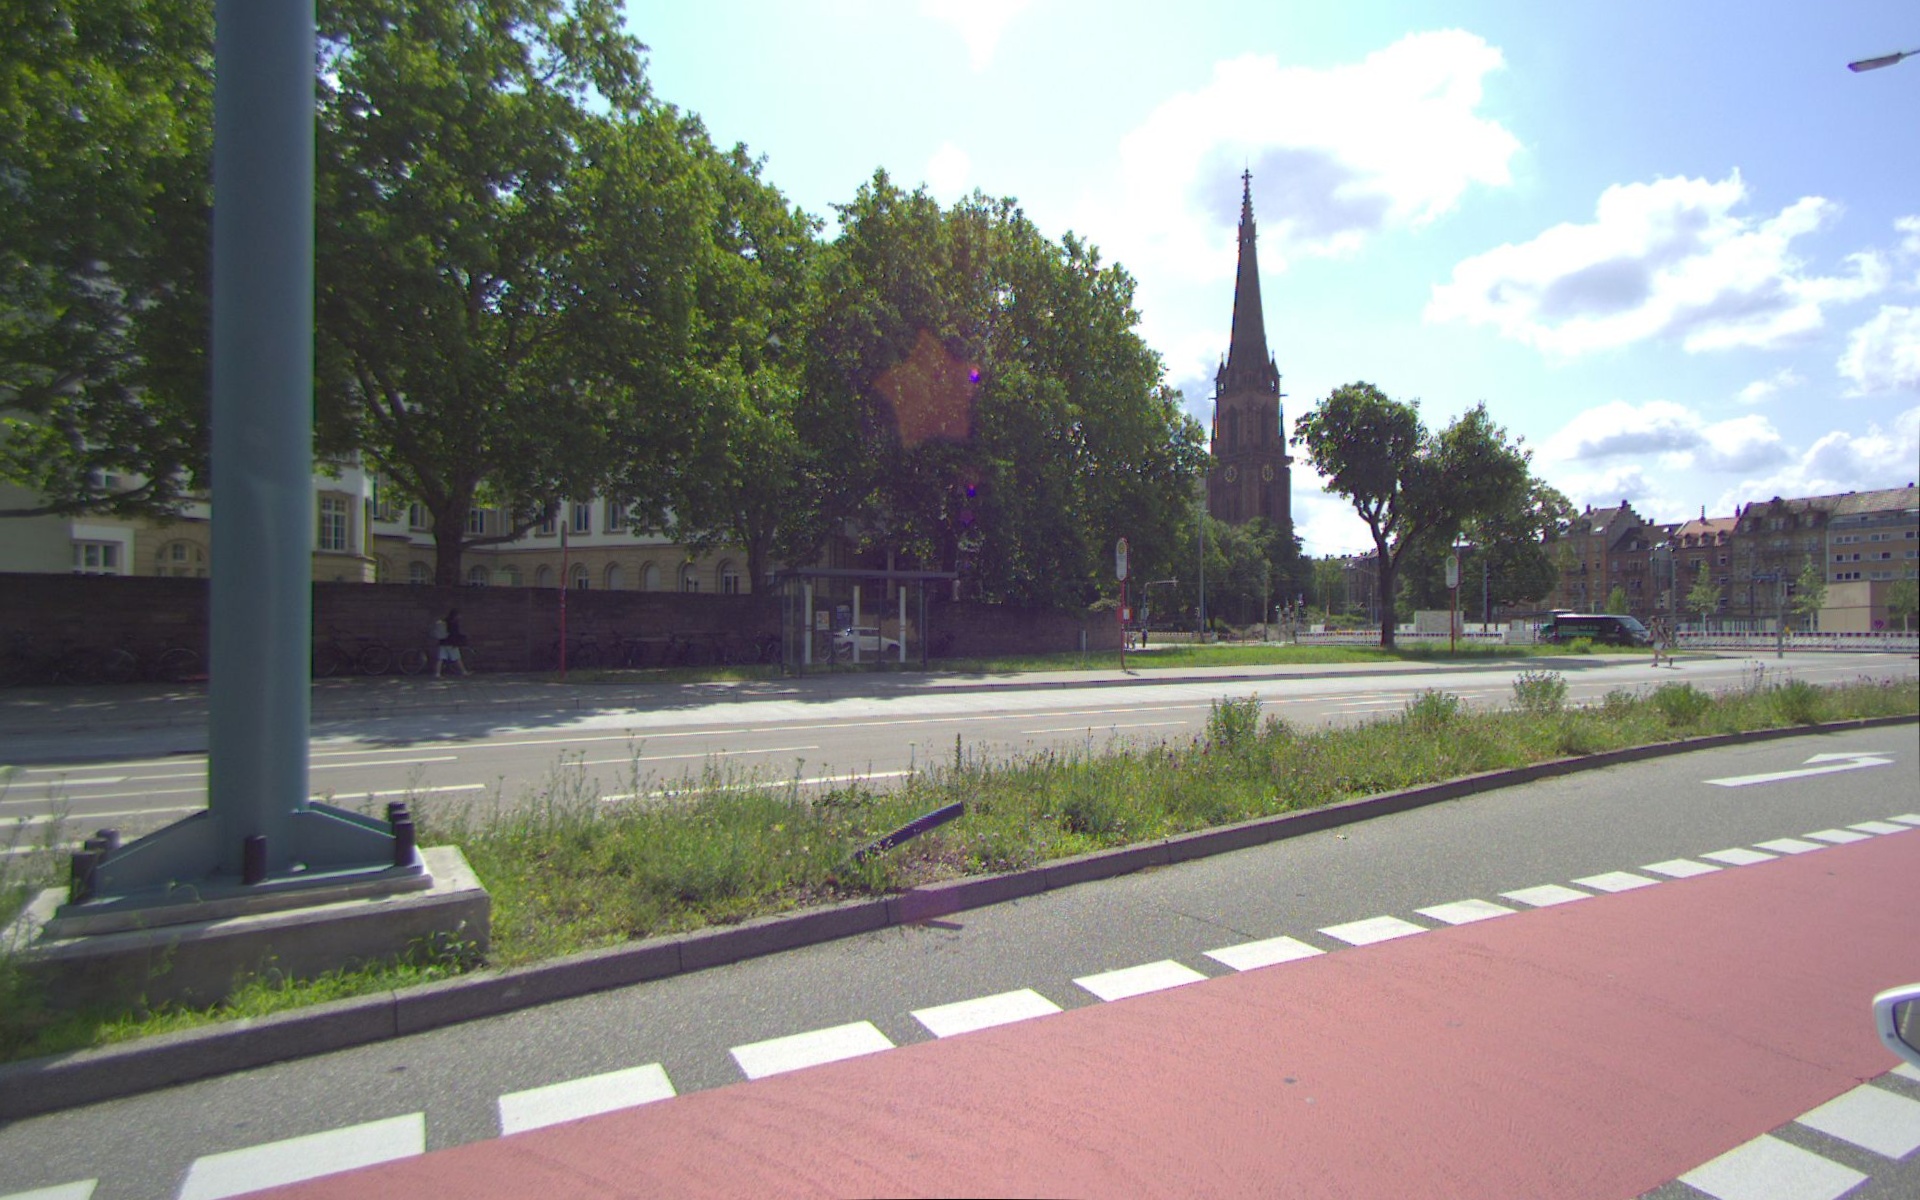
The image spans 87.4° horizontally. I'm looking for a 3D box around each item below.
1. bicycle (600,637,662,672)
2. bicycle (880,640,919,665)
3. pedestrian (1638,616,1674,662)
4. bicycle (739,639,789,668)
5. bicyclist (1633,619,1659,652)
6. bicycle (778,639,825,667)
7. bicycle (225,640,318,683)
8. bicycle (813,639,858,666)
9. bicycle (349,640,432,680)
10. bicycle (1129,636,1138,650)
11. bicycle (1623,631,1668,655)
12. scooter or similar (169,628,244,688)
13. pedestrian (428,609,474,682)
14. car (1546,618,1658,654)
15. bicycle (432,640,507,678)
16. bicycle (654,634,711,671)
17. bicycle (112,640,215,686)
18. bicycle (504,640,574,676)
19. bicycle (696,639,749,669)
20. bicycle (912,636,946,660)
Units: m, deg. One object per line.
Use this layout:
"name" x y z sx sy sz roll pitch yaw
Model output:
"bicycle" -9.506 1.553 29.027 0.538 0.964 1.656 -1 -1 43
"bicycle" -2.324 2.022 38.782 0.537 0.914 1.658 -1 -1 39
"pedestrian" 24.041 1.335 34.709 0.858 1.580 0.556 0 -1 13
"bicycle" -6.442 1.753 33.092 0.537 0.914 1.658 -1 -1 39
"bicyclist" 38.974 2.011 57.080 0.587 1.869 1.112 0 -1 -35
"bicycle" -5.419 1.813 34.438 0.537 0.914 1.658 -1 -1 39
"bicycle" -15.339 1.355 22.400 1.653 0.914 0.539 1 -1 -42
"bicycle" -4.432 1.872 35.924 0.446 0.914 1.786 -1 -1 39
"bicycle" -13.729 1.439 24.230 0.538 0.914 1.655 -1 -1 45
"bicycle" 11.350 2.800 65.714 0.534 0.914 1.666 0 -1 12
"bicycle" 38.947 2.431 57.063 0.598 1.307 2.051 1 -1 -35
"scooter or similar" -15.773 1.195 21.036 0.426 1.199 1.188 -1 -1 39
"pedestrian" -11.680 1.038 23.061 0.607 1.638 0.754 1 0 39
"car" 36.041 1.968 56.540 1.908 1.904 4.981 0 -1 -32
"bicycle" -12.391 1.480 25.373 1.648 0.914 0.499 1 -1 -34
"bicycle" -8.352 1.554 30.255 0.538 1.065 1.614 -1 -1 43
"bicycle" -16.695 1.301 21.066 1.653 0.914 0.539 2 -2 -42
"bicycle" -11.283 1.545 26.930 0.538 0.914 1.655 -1 -1 44
"bicycle" -7.502 1.690 31.738 0.537 0.914 1.658 -1 -1 39
"bicycle" -1.244 1.941 40.567 0.536 0.914 1.660 0 -1 34
